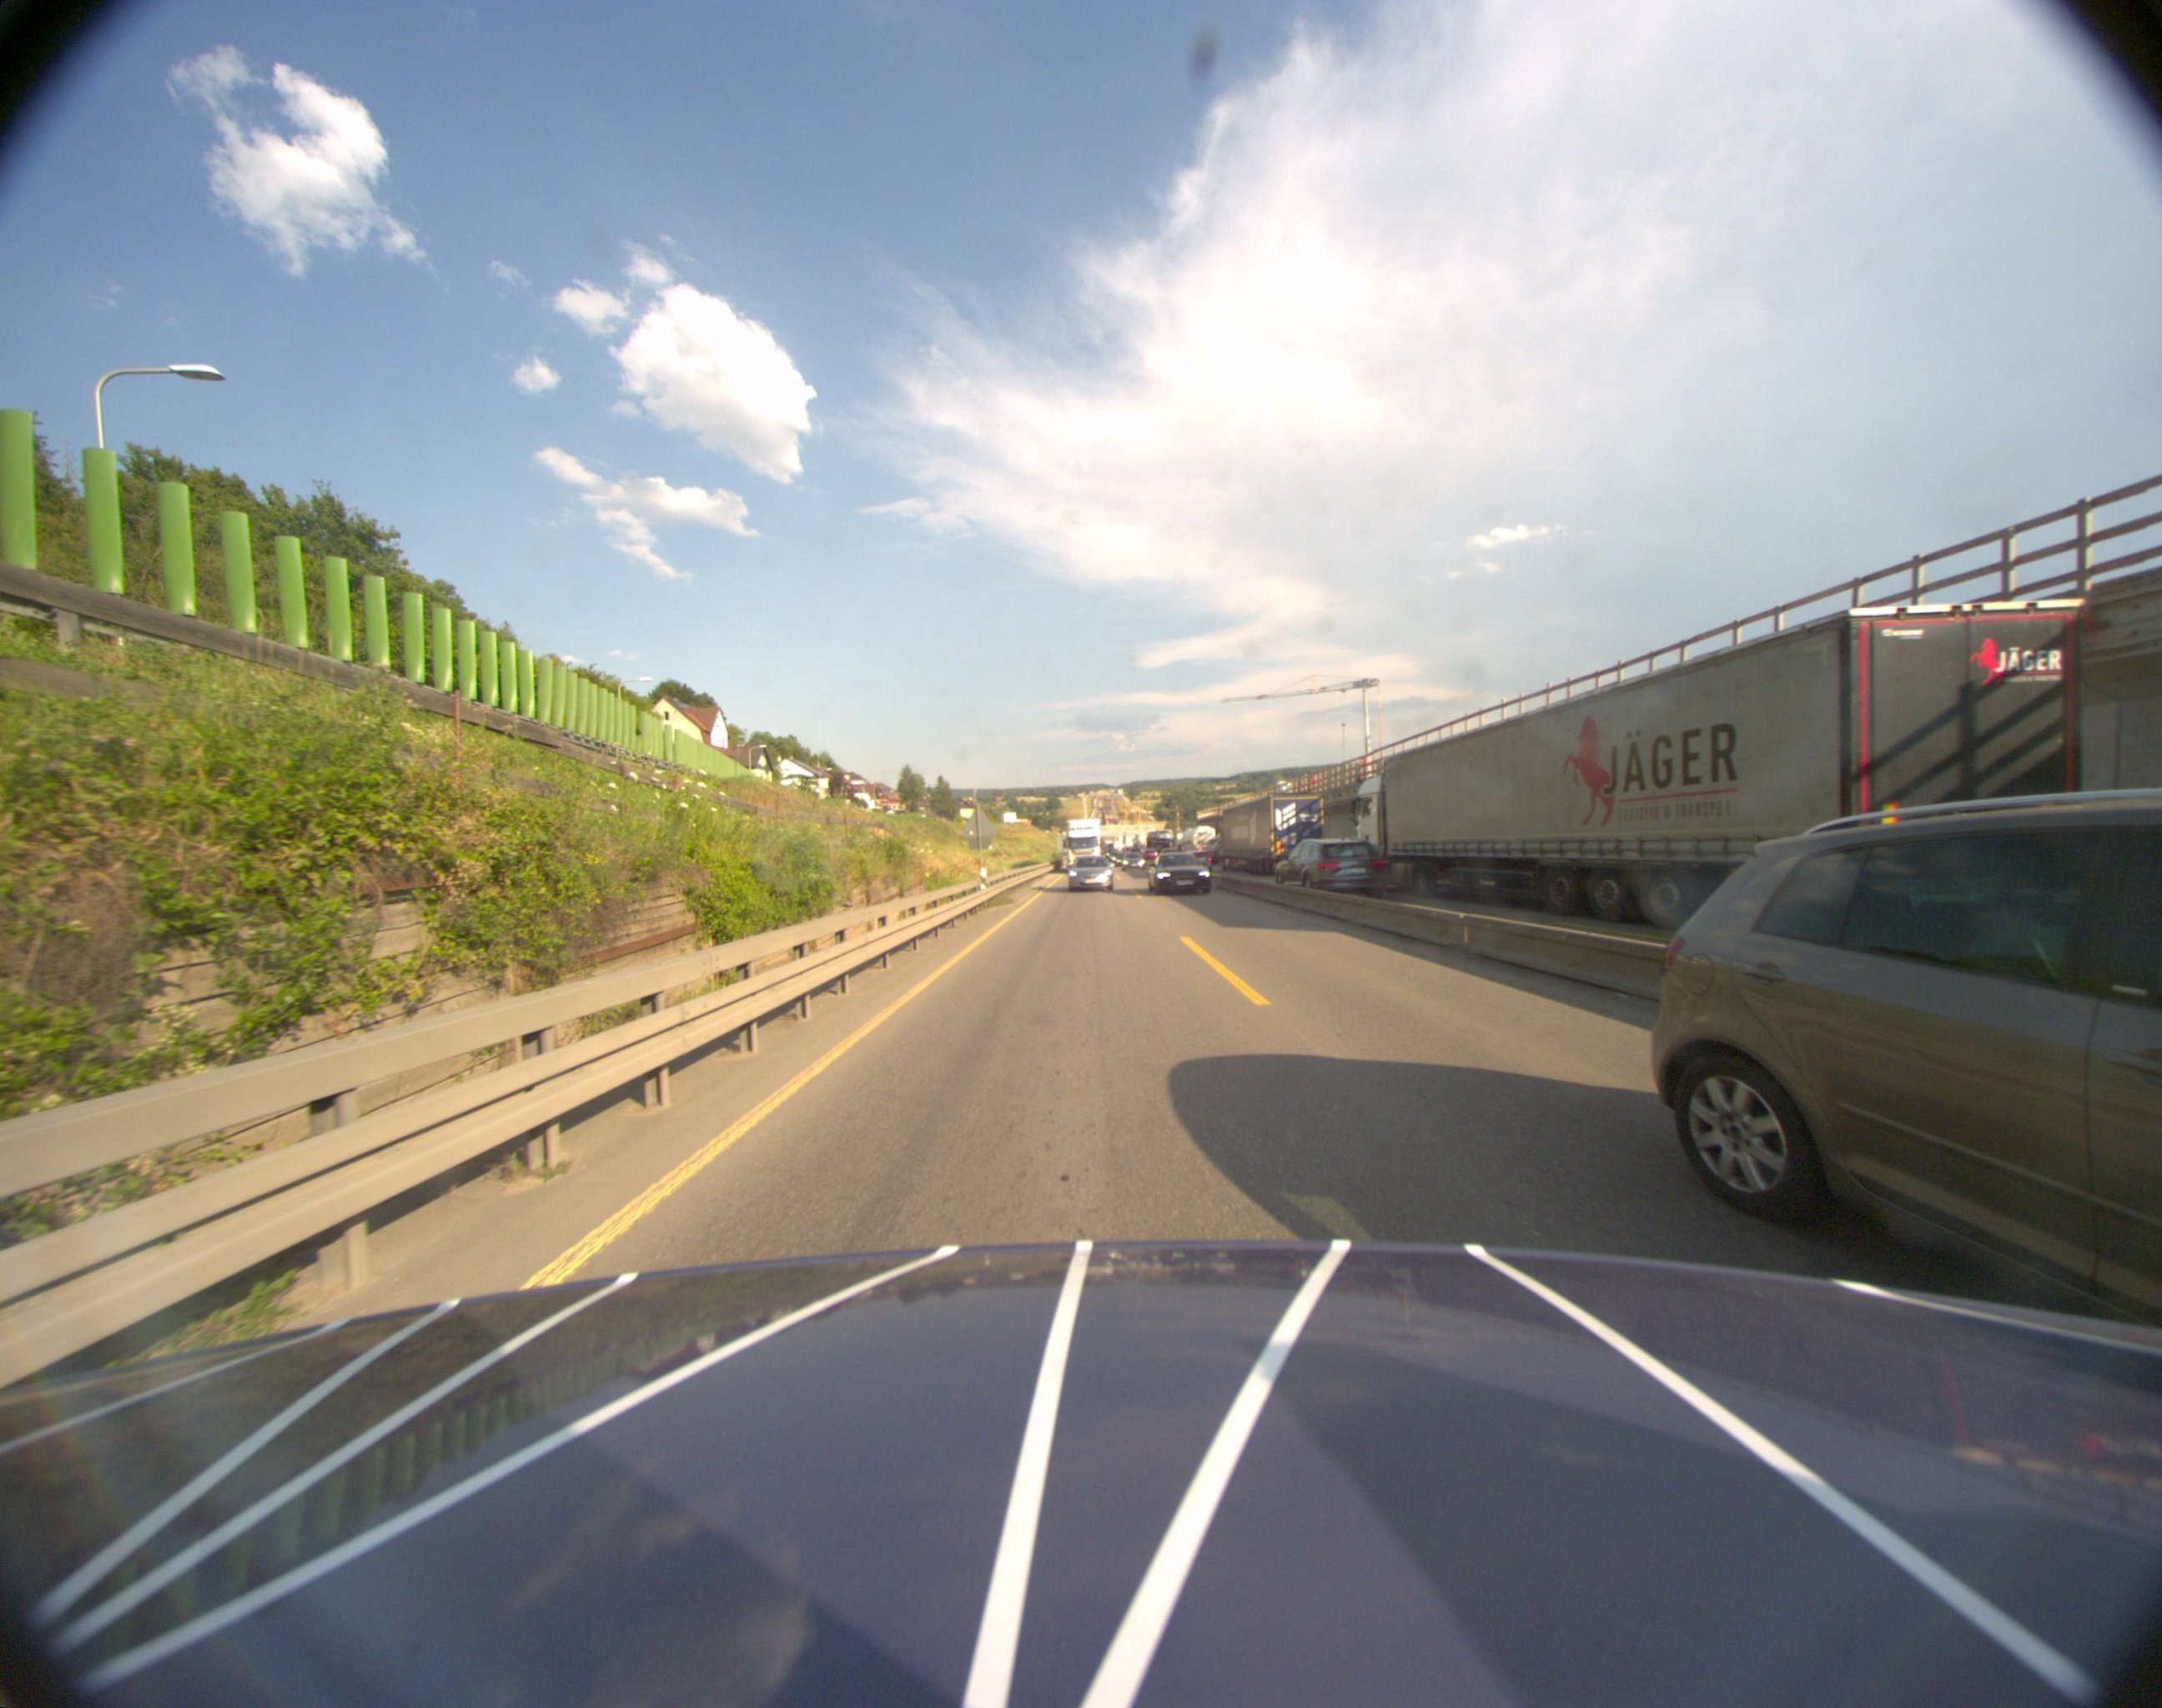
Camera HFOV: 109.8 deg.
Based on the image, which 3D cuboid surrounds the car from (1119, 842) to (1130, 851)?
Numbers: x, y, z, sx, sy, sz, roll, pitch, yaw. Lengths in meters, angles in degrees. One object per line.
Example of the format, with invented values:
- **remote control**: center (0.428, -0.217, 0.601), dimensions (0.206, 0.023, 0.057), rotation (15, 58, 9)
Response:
- **car**: center (7.568, -1.321, 132.411), dimensions (1.761, 1.569, 4.338), rotation (-2, 1, 1)

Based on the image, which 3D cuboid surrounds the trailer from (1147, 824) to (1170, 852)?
- **trailer**: center (12.064, -2.477, 118.280), dimensions (2.778, 4.008, 7.206), rotation (-2, 1, 1)

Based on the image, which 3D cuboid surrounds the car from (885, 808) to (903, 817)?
- **car**: center (-33.369, -7.381, 135.662), dimensions (1.998, 1.434, 3.999), rotation (-2, 1, 1)

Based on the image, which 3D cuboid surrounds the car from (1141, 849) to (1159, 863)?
- **car**: center (8.119, 0.173, 89.310), dimensions (1.730, 1.548, 4.297), rotation (-3, 0, 0)

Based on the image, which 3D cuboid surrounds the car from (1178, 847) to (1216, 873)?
- **car**: center (7.259, 0.360, 47.956), dimensions (1.645, 1.451, 4.595), rotation (-2, 1, 1)

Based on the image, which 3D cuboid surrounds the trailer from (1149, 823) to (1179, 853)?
- **trailer**: center (11.941, -2.315, 110.818), dimensions (2.778, 4.008, 15.760), rotation (-2, 1, 1)

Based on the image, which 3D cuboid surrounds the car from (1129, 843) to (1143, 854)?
- **car**: center (8.270, -0.899, 114.129), dimensions (1.770, 1.543, 4.835), rotation (-3, 1, 0)

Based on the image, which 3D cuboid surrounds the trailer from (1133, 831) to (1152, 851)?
- **trailer**: center (12.383, -2.648, 153.485), dimensions (2.659, 3.828, 13.440), rotation (-2, 1, 0)

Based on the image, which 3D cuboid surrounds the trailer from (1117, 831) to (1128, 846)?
- **trailer**: center (12.946, -4.866, 238.309), dimensions (2.834, 4.259, 8.734), rotation (-2, 1, 1)

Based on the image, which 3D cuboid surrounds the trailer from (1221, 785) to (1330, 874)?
- **trailer**: center (10.595, -1.157, 43.249), dimensions (2.771, 4.117, 14.026), rotation (-2, 0, 1)

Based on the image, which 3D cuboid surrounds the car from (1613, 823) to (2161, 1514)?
- **car**: center (3.310, 0.718, 1.411), dimensions (1.685, 1.579, 4.272), rotation (0, 0, 1)

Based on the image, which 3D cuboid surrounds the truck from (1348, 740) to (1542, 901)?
- **truck**: center (10.271, -0.906, 22.164), dimensions (2.867, 3.985, 5.656), rotation (-3, 1, 0)

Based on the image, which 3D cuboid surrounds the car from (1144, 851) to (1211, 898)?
- **car**: center (3.360, 0.666, 27.269), dimensions (1.873, 1.411, 4.348), rotation (-2, 1, 1)

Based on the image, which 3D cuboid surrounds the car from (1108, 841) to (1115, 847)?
- **car**: center (8.997, -2.976, 223.772), dimensions (1.785, 1.833, 4.852), rotation (-2, 1, 1)

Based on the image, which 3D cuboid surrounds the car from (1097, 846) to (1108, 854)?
- **car**: center (4.475, -0.820, 159.146), dimensions (1.998, 1.696, 3.999), rotation (-2, 1, 0)

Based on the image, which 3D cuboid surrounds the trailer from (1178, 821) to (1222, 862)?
- **trailer**: center (11.107, -1.226, 71.744), dimensions (2.563, 3.506, 10.679), rotation (-2, 1, 1)

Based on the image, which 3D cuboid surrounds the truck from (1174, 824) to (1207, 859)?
- **truck**: center (11.203, -1.281, 78.171), dimensions (2.555, 3.390, 5.530), rotation (-2, 1, 1)

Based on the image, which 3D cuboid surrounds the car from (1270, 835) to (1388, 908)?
- **car**: center (6.944, 0.390, 21.904), dimensions (1.826, 1.762, 5.139), rotation (-2, 1, 2)

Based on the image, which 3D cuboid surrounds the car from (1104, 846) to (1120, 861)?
- **car**: center (3.875, -0.089, 95.913), dimensions (1.917, 1.746, 4.000), rotation (-1, 0, 0)

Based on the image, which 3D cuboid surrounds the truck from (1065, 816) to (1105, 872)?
- **truck**: center (0.441, -0.880, 62.392), dimensions (2.741, 4.033, 12.668), rotation (-2, 1, 1)

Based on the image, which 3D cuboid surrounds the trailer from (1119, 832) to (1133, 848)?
- **trailer**: center (11.626, -3.627, 198.373), dimensions (2.932, 4.014, 13.772), rotation (-2, 1, 1)

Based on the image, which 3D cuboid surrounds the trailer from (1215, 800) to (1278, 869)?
- **trailer**: center (10.764, -1.190, 49.951), dimensions (2.771, 4.117, 5.976), rotation (-2, 0, 1)

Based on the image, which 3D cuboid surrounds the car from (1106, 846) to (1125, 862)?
- **car**: center (3.848, 0.009, 85.108), dimensions (1.917, 1.746, 4.000), rotation (-1, 0, 0)

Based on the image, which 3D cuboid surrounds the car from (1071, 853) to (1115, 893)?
- **car**: center (0.504, 0.743, 31.205), dimensions (1.671, 1.425, 3.523), rotation (-1, 1, 1)

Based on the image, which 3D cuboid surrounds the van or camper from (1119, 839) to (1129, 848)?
- **van or camper**: center (9.693, -2.409, 171.314), dimensions (1.863, 2.002, 5.294), rotation (-3, 1, 0)

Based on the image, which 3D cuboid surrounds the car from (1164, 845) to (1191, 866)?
- **car**: center (8.282, 0.070, 65.503), dimensions (1.645, 1.635, 4.688), rotation (-3, 1, 0)

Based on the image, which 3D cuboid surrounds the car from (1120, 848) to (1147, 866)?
- **car**: center (4.117, 0.228, 60.019), dimensions (1.692, 1.294, 3.882), rotation (-3, 1, -1)

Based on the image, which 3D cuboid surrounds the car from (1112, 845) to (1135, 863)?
- **car**: center (4.246, -0.011, 76.117), dimensions (1.998, 1.740, 3.999), rotation (-1, 1, 0)

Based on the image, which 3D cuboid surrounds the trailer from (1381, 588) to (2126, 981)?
- **trailer**: center (10.175, -0.896, 15.276), dimensions (2.920, 4.216, 13.766), rotation (-2, 1, 1)

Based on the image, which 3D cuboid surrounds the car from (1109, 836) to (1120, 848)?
- **car**: center (8.306, -2.993, 188.615), dimensions (1.999, 2.608, 7.407), rotation (-3, 1, -2)
